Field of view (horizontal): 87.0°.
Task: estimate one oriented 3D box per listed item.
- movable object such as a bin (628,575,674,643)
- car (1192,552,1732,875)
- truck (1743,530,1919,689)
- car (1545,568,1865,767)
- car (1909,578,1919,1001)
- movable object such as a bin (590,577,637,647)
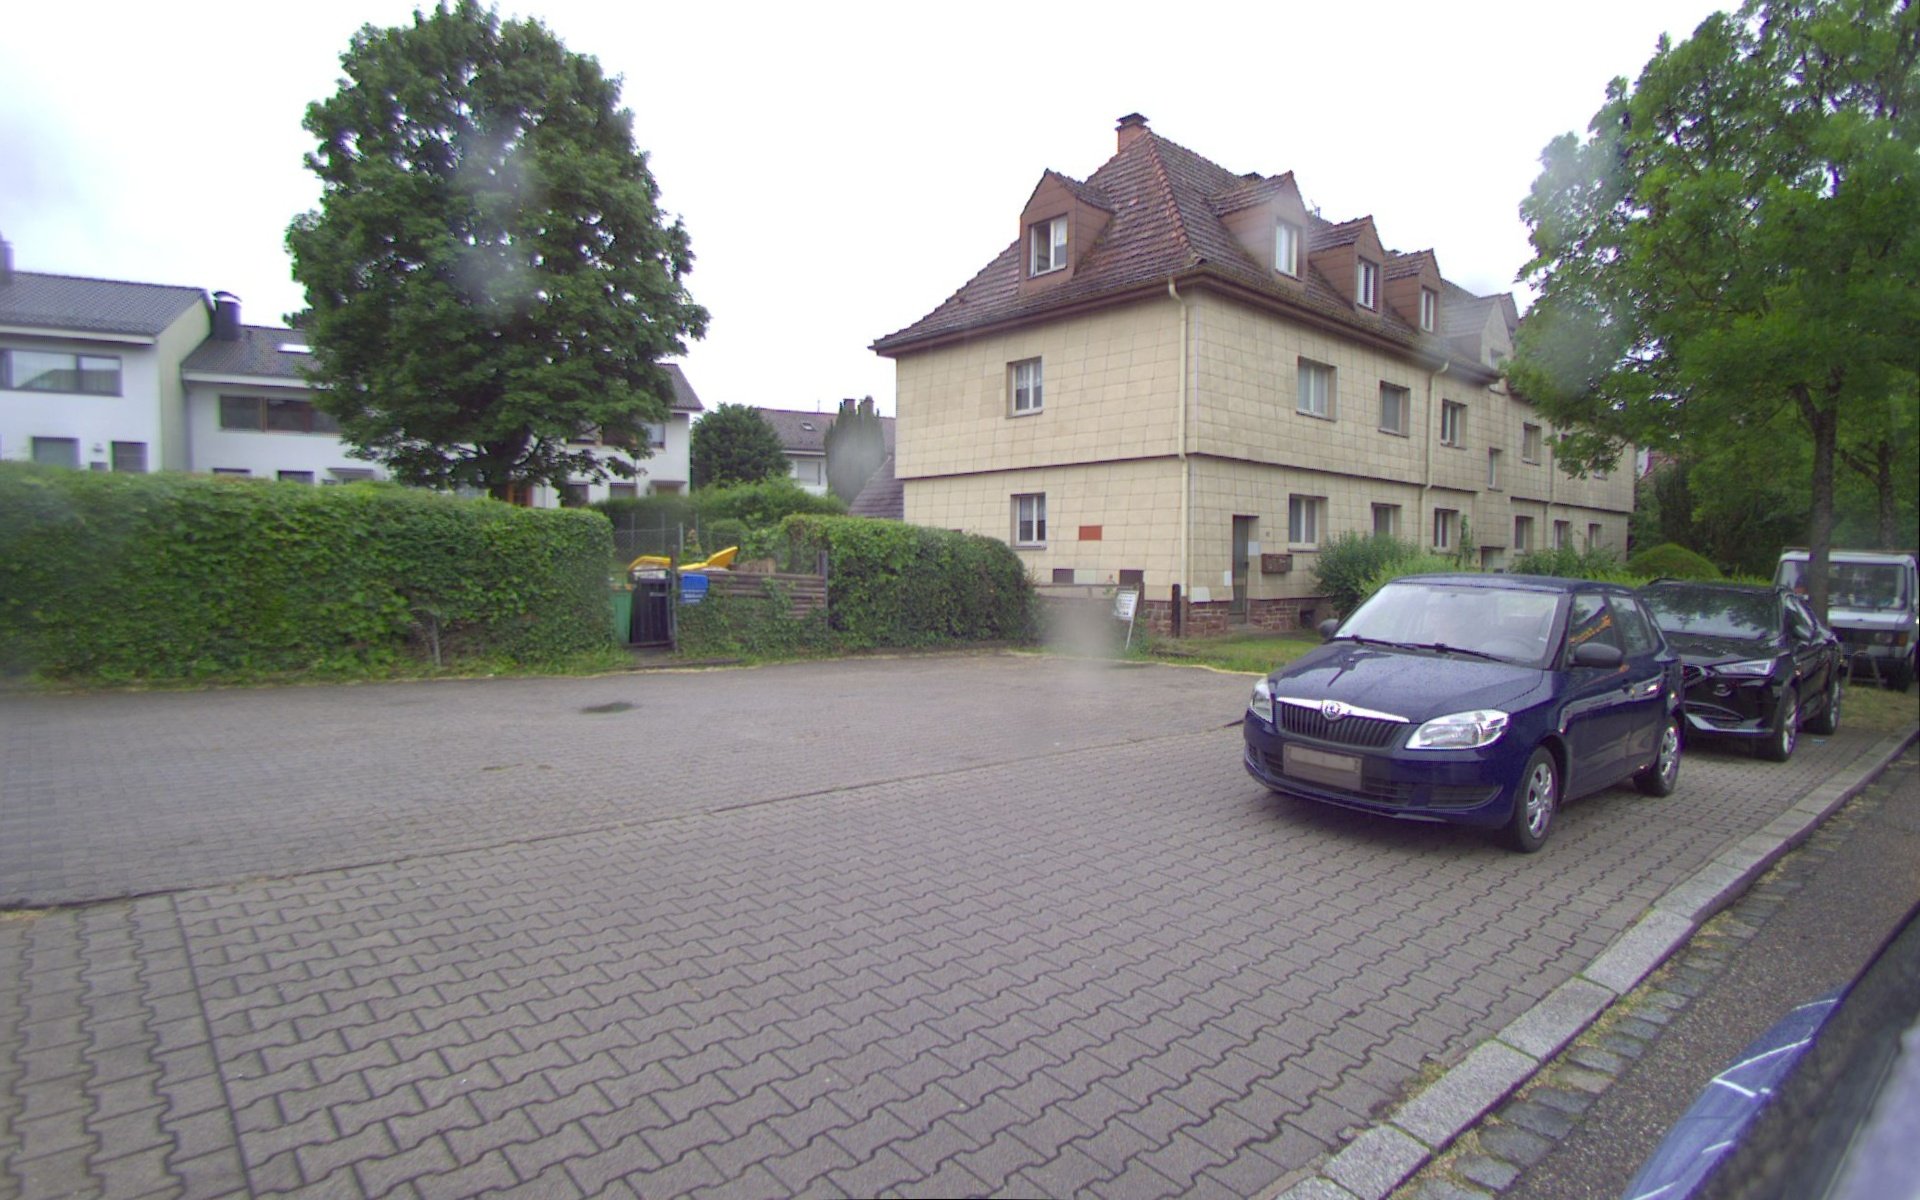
[{"bbox_3d":[-4.427,0.127,14.491,0.441,0.954,0.539,0,0,-45],"label":"movable object such as a bin"},{"bbox_3d":[3.436,0.476,6.600,3.930,1.441,1.719,-1,4,-41],"label":"car"},{"bbox_3d":[14.929,0.098,16.689,5.653,2.224,1.998,0,2,-40],"label":"truck"},{"bbox_3d":[7.357,0.484,9.857,3.932,1.481,1.719,-1,4,-42],"label":"car"},{"bbox_3d":[5.626,0.683,4.301,4.240,1.548,1.881,0,-1,-41],"label":"car"},{"bbox_3d":[-4.839,0.160,14.127,0.441,0.954,0.539,0,0,-45],"label":"movable object such as a bin"}]
